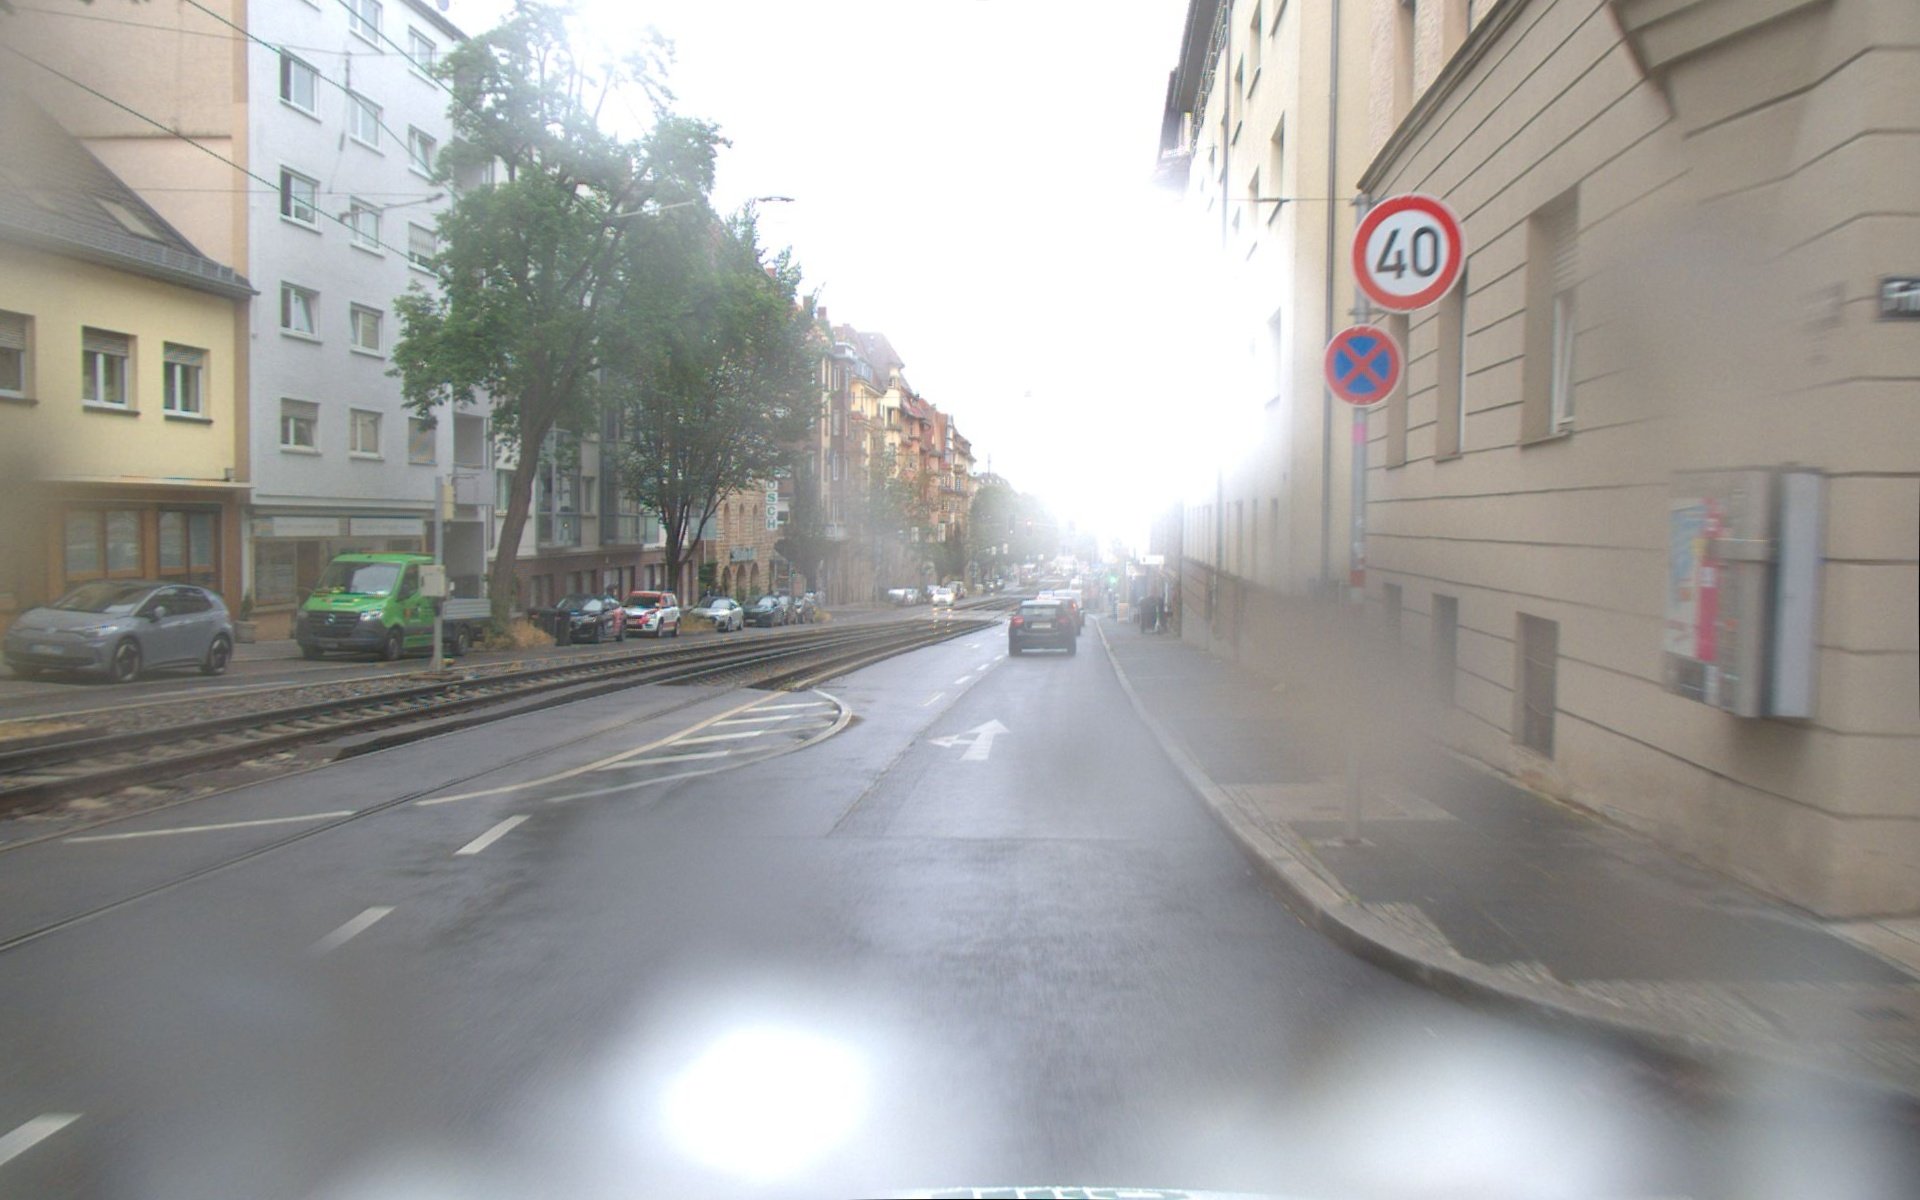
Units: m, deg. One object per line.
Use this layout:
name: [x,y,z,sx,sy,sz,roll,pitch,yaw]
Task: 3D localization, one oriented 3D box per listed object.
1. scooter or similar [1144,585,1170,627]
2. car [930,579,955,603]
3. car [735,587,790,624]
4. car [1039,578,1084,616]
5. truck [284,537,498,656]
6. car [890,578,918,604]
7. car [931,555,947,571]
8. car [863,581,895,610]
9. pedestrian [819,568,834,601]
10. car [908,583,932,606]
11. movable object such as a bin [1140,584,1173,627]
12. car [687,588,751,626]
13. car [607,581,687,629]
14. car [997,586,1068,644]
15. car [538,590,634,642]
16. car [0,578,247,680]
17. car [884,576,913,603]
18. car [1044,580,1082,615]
scooter or similar: [7.630,0.223,64.164,0.900,1.632,0.862,0,0,0]
car: [-1.505,-0.805,143.105,1.952,2.049,4.348,0,0,3]
car: [-9.340,0.229,78.512,1.736,1.647,4.258,-2,0,4]
car: [4.233,-0.107,69.336,1.813,1.499,4.001,1,0,2]
truck: [-12.649,-0.062,37.330,2.007,2.435,6.326,0,0,7]
car: [-4.682,-0.763,139.624,1.952,2.049,4.348,-2,-1,3]
car: [-2.738,-4.838,217.518,1.952,2.049,4.002,0,0,3]
car: [-6.063,-0.312,124.598,1.952,2.049,4.348,-2,-1,3]
pedestrian: [-8.693,-1.006,107.708,0.853,2.049,0.704,-2,-1,2]
car: [-3.784,-0.523,158.086,1.952,2.049,4.348,-2,-1,3]
movable object such as a bin: [7.791,0.206,65.666,1.144,1.684,1.309,-1,0,0]
car: [-10.157,0.279,69.856,1.736,1.514,4.257,-2,0,4]
car: [-11.002,0.163,58.444,1.736,1.573,4.257,-2,0,4]
car: [1.960,0.367,44.449,1.813,1.499,4.002,0,0,3]
car: [-11.519,0.475,51.210,1.736,1.478,4.257,-2,0,4]
car: [-13.713,0.411,27.214,1.689,1.542,4.499,0,1,5]
car: [-5.021,-0.809,134.588,1.952,2.049,4.348,-2,-1,3]
car: [5.522,-0.100,88.928,1.908,1.824,4.145,1,0,2]
